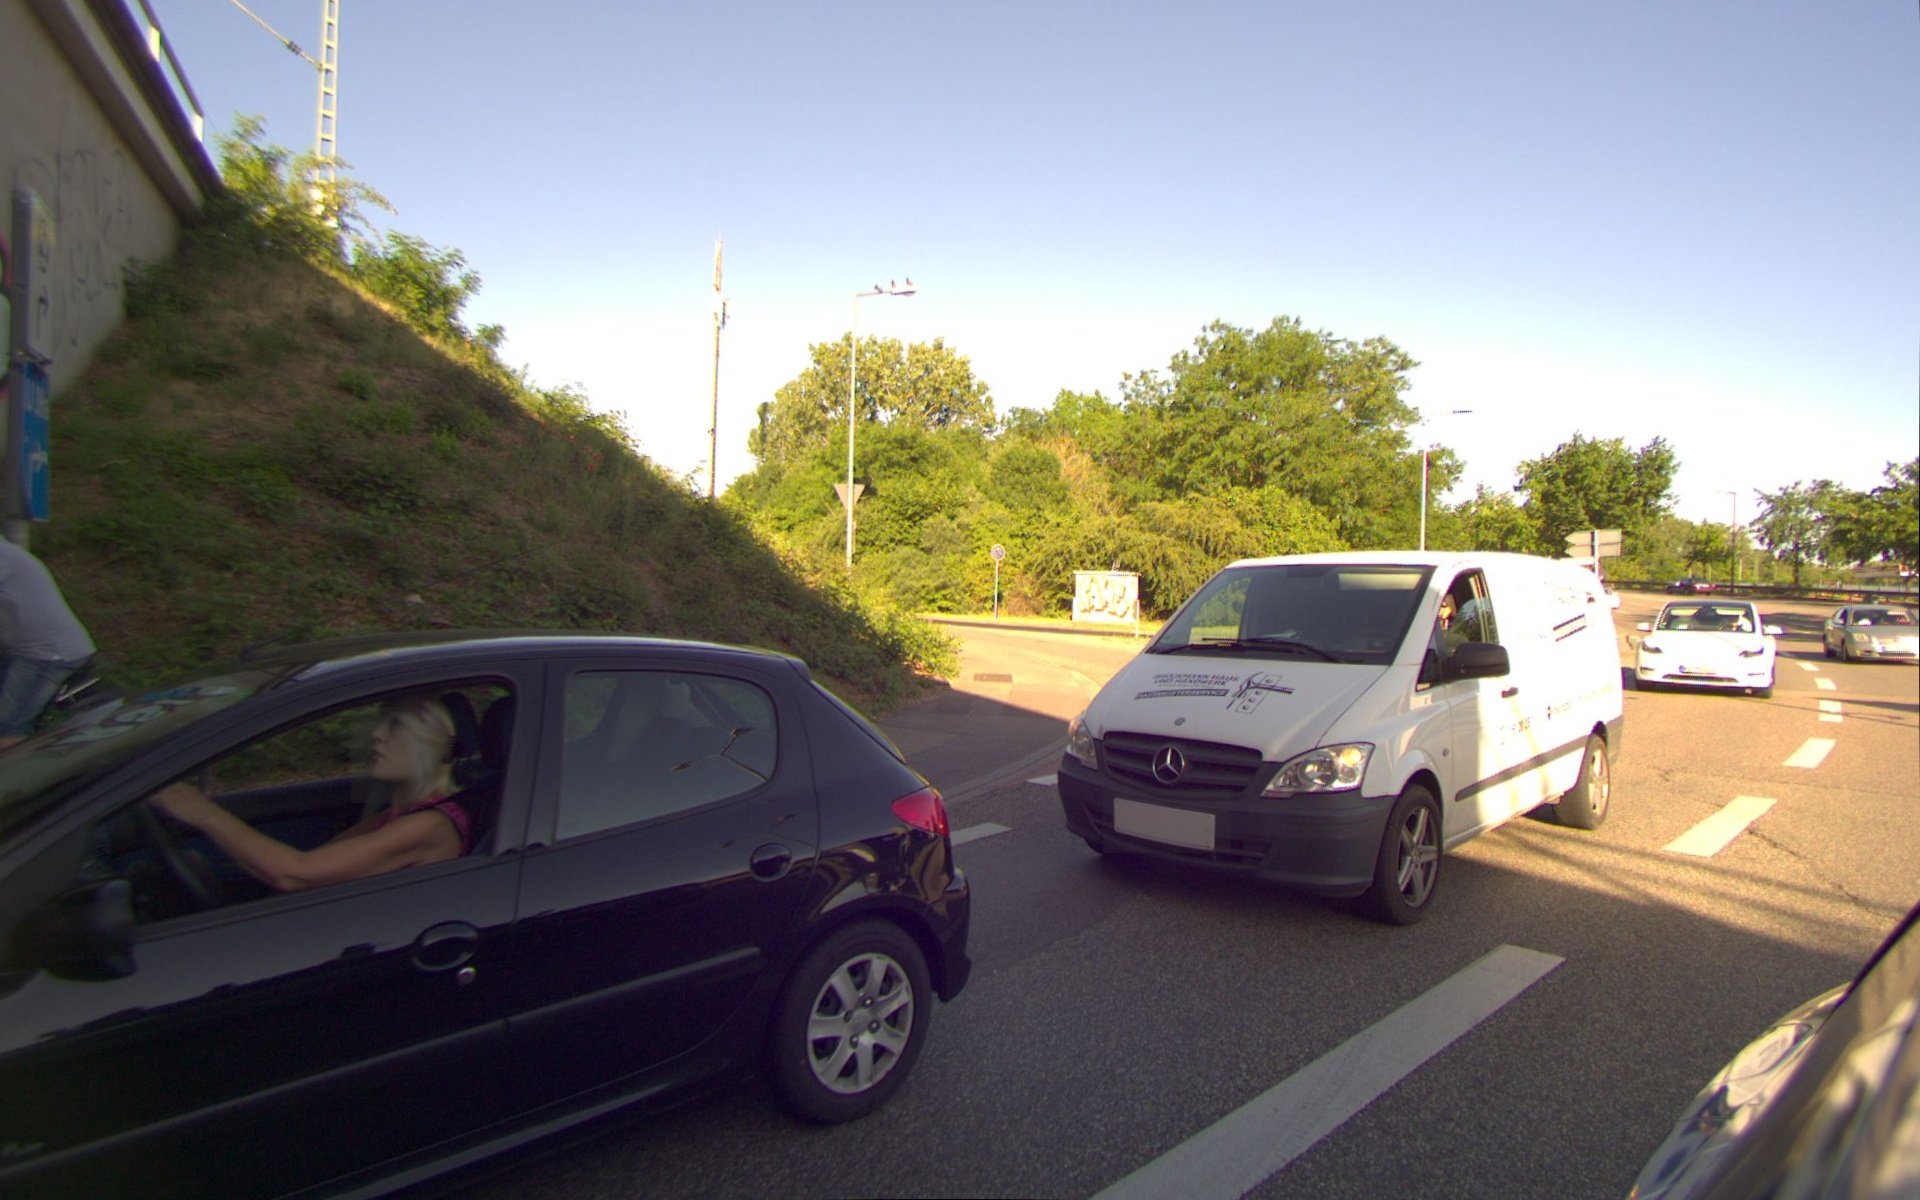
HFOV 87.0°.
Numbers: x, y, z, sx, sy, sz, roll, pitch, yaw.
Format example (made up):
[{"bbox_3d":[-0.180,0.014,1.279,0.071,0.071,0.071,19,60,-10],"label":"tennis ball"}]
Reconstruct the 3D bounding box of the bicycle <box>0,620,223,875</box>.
[{"bbox_3d":[-4.490,0.656,4.681,1.728,1.070,0.704,1,3,-37],"label":"bicycle"}]

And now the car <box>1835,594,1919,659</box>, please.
[{"bbox_3d":[24.180,0.625,26.350,1.691,1.473,4.343,0,1,35],"label":"car"}]

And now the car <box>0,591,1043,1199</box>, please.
[{"bbox_3d":[-1.696,0.720,2.733,3.649,1.474,1.749,0,0,-39],"label":"car"}]

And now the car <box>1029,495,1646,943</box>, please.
[{"bbox_3d":[2.751,0.530,6.566,4.754,1.859,1.899,2,-1,-44],"label":"car"}]

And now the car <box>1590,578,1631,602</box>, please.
[{"bbox_3d":[42.310,-0.672,65.911,1.756,1.460,3.964,1,1,26],"label":"car"}]

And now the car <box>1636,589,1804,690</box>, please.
[{"bbox_3d":[13.897,0.605,18.411,1.993,1.570,4.352,1,1,43],"label":"car"}]

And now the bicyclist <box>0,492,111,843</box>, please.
[{"bbox_3d":[-4.509,0.278,4.632,0.892,1.542,0.698,0,3,-36],"label":"bicyclist"}]
